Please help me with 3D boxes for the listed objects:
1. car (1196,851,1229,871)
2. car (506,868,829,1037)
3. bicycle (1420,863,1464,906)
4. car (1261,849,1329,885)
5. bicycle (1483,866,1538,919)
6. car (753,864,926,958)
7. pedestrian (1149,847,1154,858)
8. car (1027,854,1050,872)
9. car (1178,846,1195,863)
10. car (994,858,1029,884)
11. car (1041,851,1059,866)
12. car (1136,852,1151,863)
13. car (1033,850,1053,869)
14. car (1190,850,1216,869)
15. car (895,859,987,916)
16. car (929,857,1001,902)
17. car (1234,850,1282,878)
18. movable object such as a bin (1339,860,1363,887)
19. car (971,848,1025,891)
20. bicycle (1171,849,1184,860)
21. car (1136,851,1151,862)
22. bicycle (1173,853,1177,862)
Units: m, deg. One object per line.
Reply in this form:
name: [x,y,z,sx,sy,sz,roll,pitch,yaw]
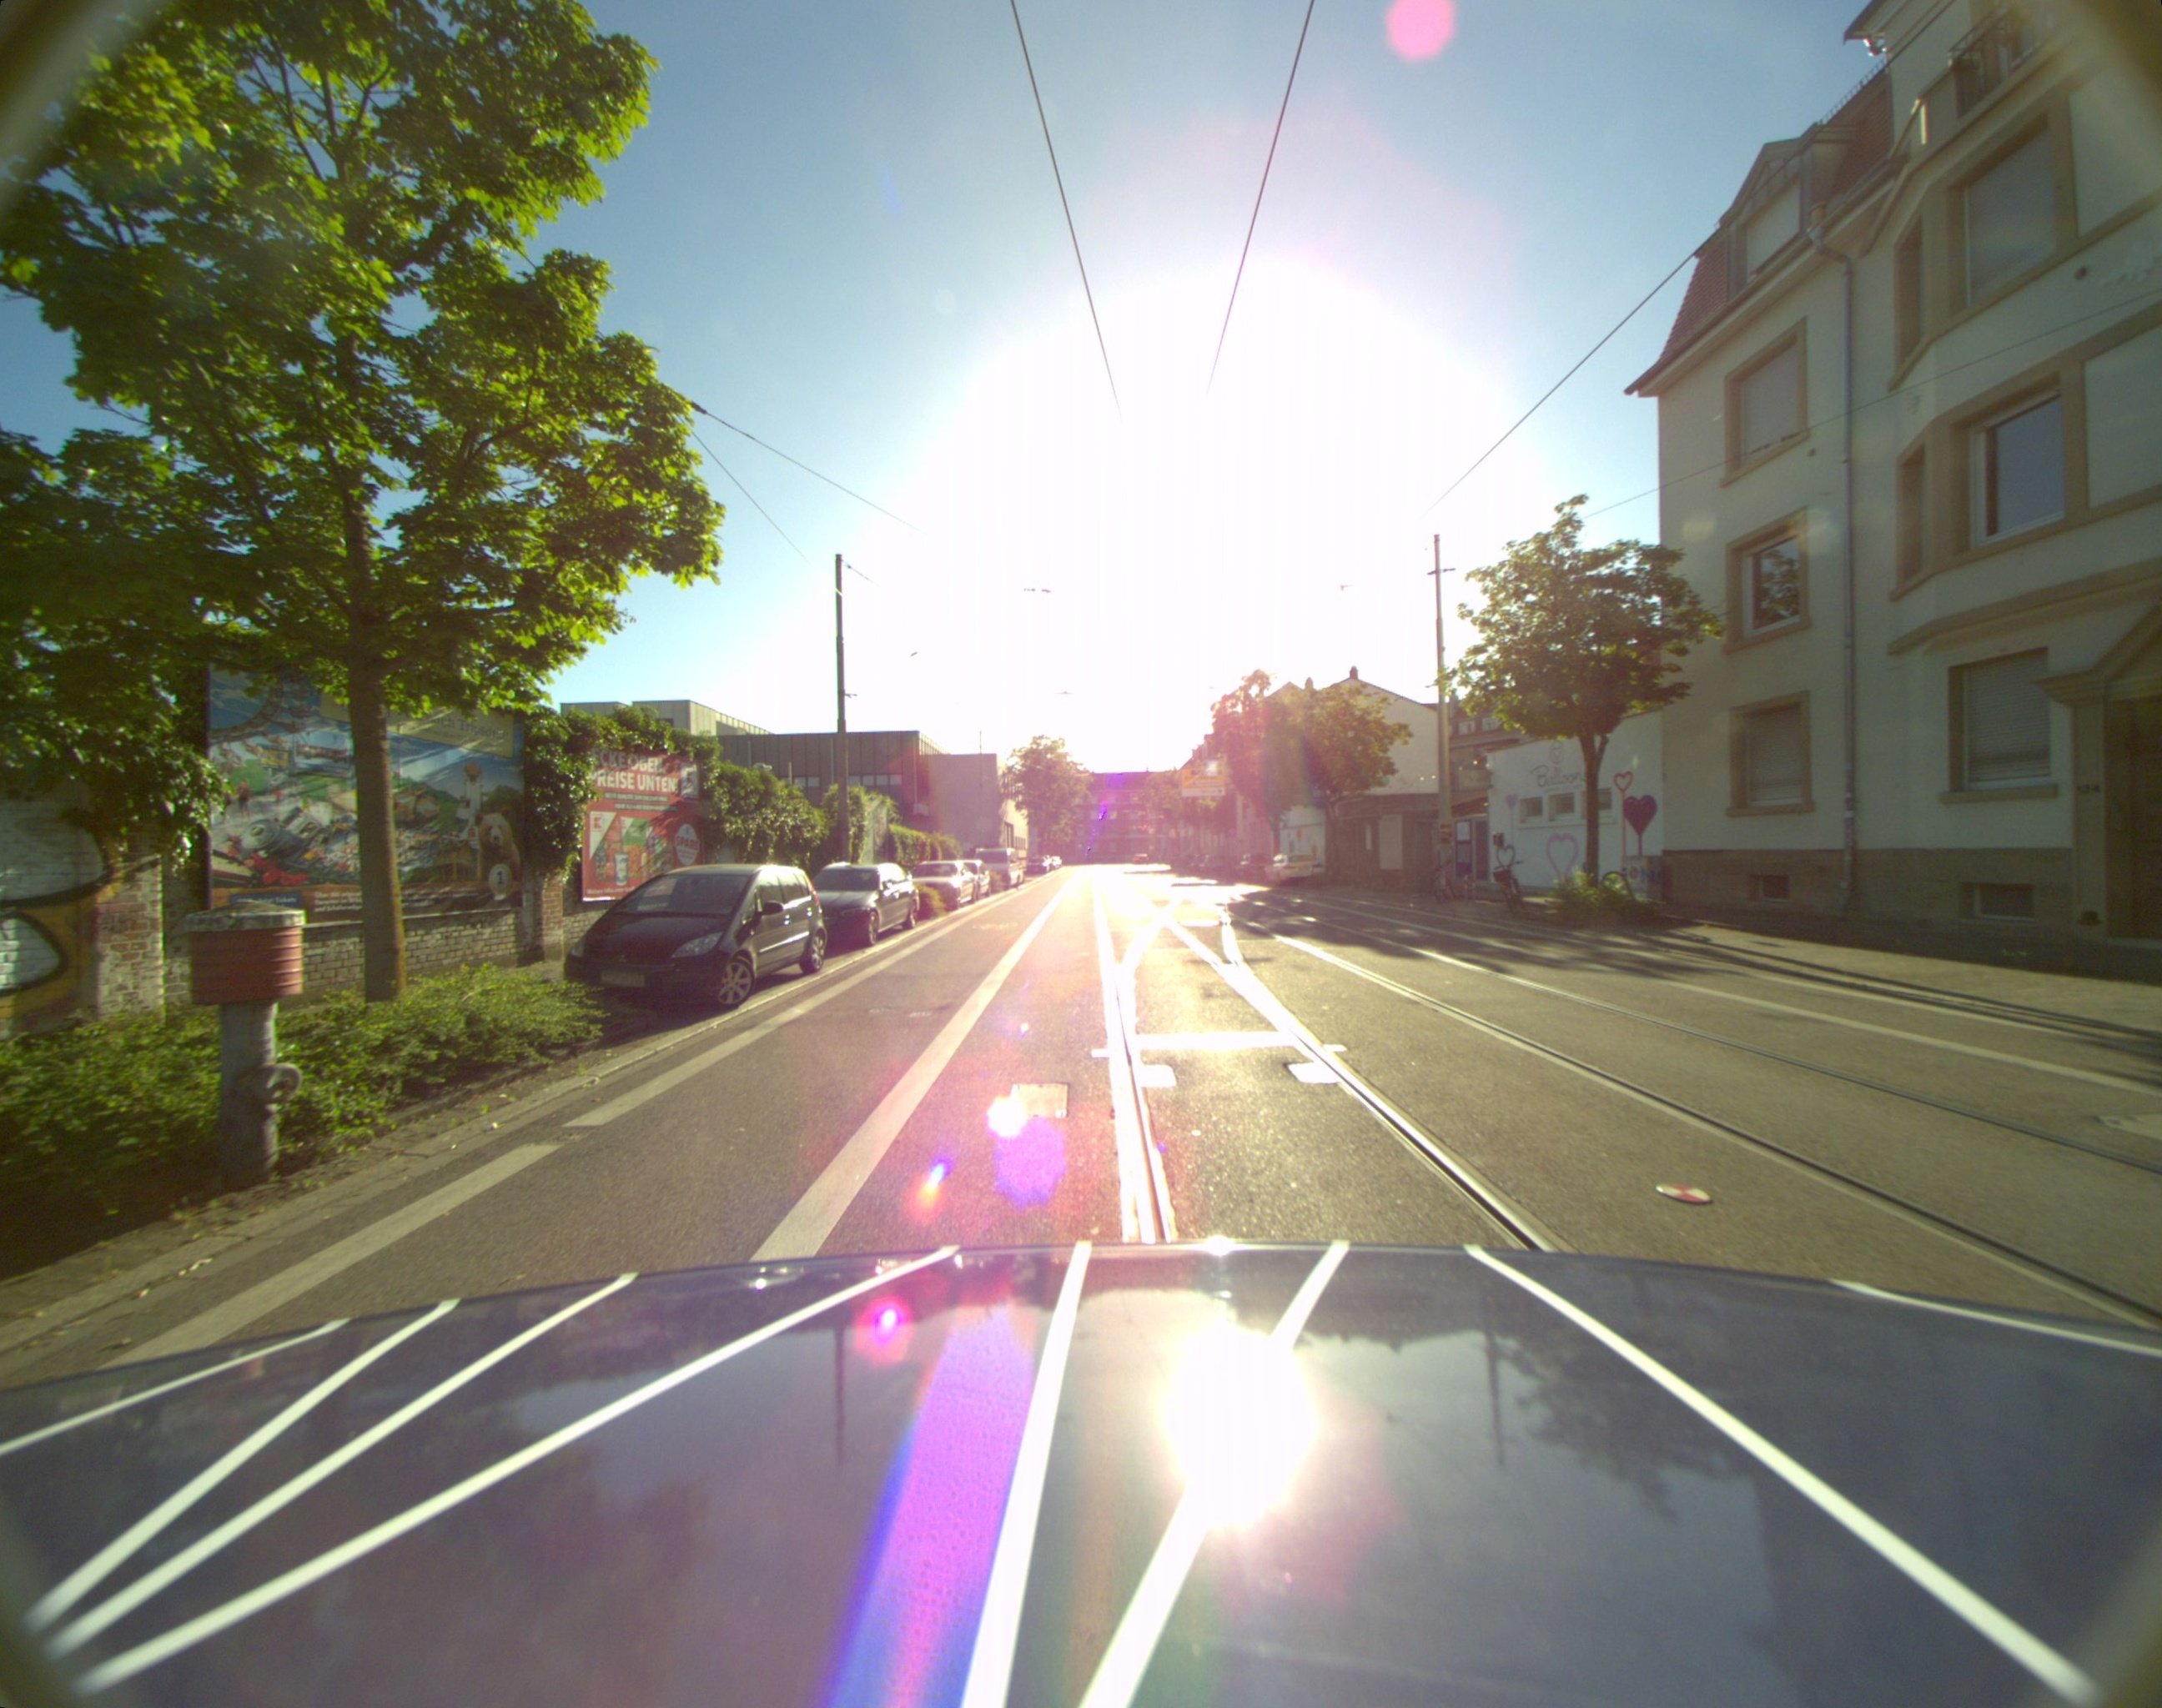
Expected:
car: [10.173,0.494,58.922,1.878,1.420,4.292,-2,1,1]
car: [-4.547,0.971,9.110,1.829,1.484,3.814,1,1,-1]
bicycle: [9.820,0.811,20.640,0.667,1.034,1.790,-2,1,39]
car: [9.997,0.578,35.872,1.869,1.482,4.661,-2,1,1]
bicycle: [9.595,0.836,16.936,1.991,1.034,0.531,-3,1,-45]
car: [-4.540,0.990,15.113,1.828,1.444,4.642,-1,1,2]
pedestrian: [11.013,-0.270,118.891,0.640,1.764,0.583,-2,1,1]
car: [-3.783,0.738,68.104,1.706,1.473,4.658,1,1,1]
car: [10.583,0.051,76.151,1.358,1.493,2.548,-2,-2,1]
car: [-3.997,0.947,44.420,1.680,1.409,4.501,0,1,-1]
car: [-3.314,0.465,81.422,1.716,1.481,4.623,0,0,1]
car: [8.846,0.518,107.602,1.770,1.455,4.746,-1,1,0]
car: [-3.670,0.531,73.969,1.746,1.702,4.276,-2,1,-2]
car: [10.420,0.469,64.923,1.576,1.496,4.000,-2,1,1]
car: [-4.267,0.967,23.841,1.828,1.476,4.601,-2,1,2]
car: [-4.397,0.922,29.420,1.877,1.464,4.075,-2,1,3]
car: [10.126,0.546,43.838,1.777,1.477,4.305,-2,1,1]
movable object such as a bin: [10.260,0.734,28.850,0.583,0.954,0.702,-7,1,1]
car: [-4.023,0.696,37.690,1.858,1.980,5.242,-1,1,3]
bicycle: [10.647,0.089,83.654,1.344,1.163,0.409,-2,1,2]
car: [9.436,0.421,115.499,1.923,1.516,4.000,-2,1,1]
bicycle: [10.578,0.369,85.574,0.303,1.036,1.661,-2,1,1]
